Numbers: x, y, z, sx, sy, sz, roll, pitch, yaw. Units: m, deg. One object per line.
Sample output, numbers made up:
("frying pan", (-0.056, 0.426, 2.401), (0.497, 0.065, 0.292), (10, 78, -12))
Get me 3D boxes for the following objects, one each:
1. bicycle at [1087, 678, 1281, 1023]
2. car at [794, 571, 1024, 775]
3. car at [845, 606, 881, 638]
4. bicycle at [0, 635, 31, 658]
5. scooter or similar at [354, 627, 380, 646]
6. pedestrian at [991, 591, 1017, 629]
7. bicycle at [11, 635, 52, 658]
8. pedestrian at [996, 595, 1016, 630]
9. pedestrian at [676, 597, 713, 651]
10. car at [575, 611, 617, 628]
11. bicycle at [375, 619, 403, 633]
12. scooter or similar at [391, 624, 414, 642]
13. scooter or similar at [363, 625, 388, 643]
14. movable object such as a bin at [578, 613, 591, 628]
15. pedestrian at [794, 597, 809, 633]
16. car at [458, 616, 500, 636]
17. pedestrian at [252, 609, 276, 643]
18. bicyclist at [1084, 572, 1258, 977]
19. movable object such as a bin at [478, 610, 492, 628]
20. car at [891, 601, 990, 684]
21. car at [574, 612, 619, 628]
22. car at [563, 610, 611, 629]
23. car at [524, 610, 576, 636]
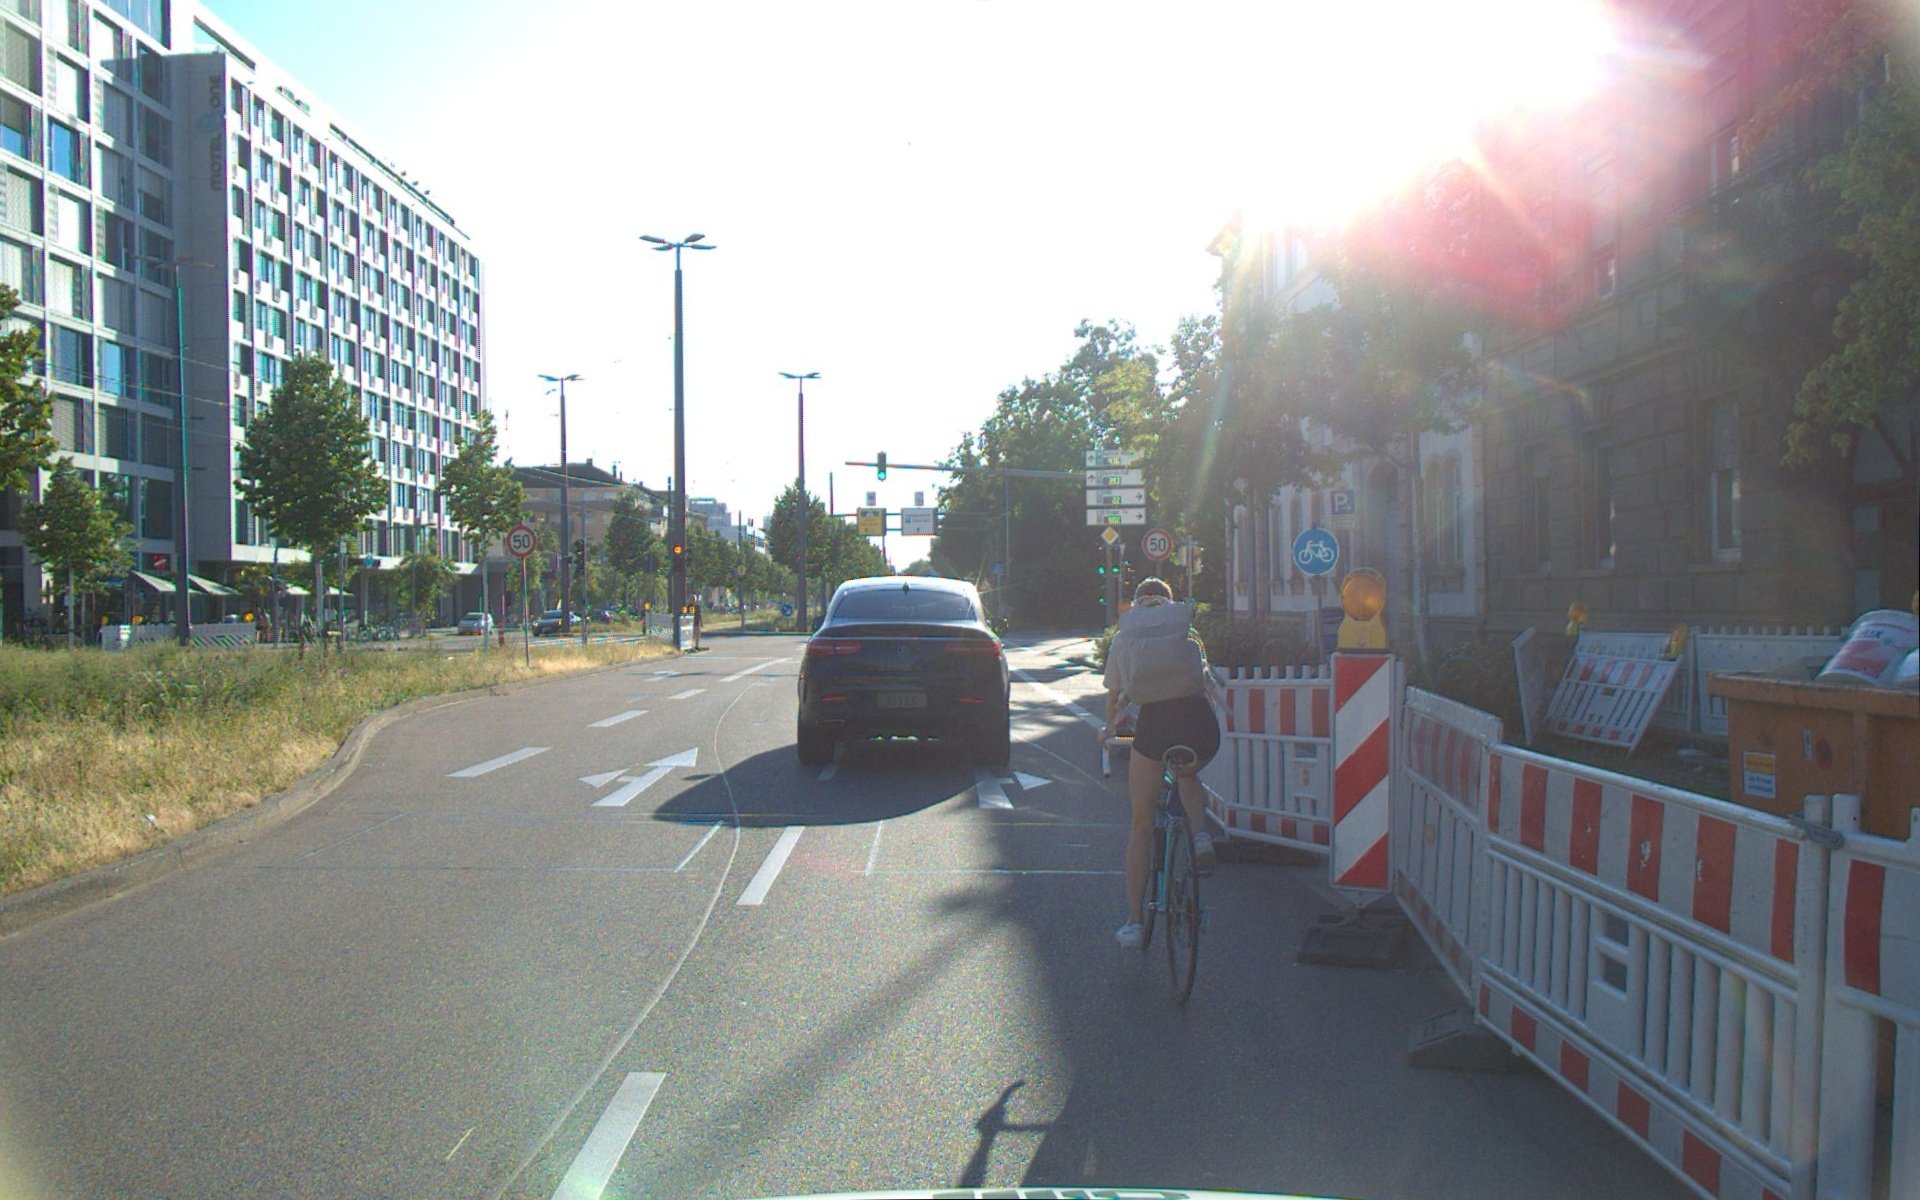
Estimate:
("bicycle", (0.866, 0.933, 6.797), (0.510, 1.116, 1.842), (-1, 0, -1))
("car", (-0.632, 0.614, 16.405), (1.955, 1.765, 3.994), (0, 0, -7))
("car", (-5.160, 1.177, 88.350), (1.848, 1.608, 3.999), (0, 0, -2))
("bicycle", (-41.504, 2.042, 72.478), (0.524, 0.952, 1.900), (-1, 0, -2))
("scooter or similar", (-33.085, 2.022, 92.262), (1.218, 1.037, 0.511), (-1, 0, 0))
("pedestrian", (2.203, 0.502, 82.231), (0.850, 1.833, 0.896), (-3, 0, -36))
("bicycle", (-40.710, 2.030, 72.546), (0.606, 0.952, 2.216), (-1, 0, -2))
("pedestrian", (2.245, 0.597, 81.258), (0.752, 1.665, 0.768), (-3, 0, -11))
("pedestrian", (-8.329, 0.756, 51.912), (0.904, 1.678, 0.766), (-1, -1, 11))
("car", (-34.467, 1.827, 156.771), (3.595, 1.550, 1.596), (2, -1, -42))
("bicycle", (-40.721, 1.850, 117.952), (1.770, 0.921, 0.511), (-1, 0, -8))
("scooter or similar", (-33.137, 1.941, 98.333), (1.218, 1.037, 0.435), (-1, 0, 0))
("scooter or similar", (-33.137, 1.928, 93.789), (1.218, 1.037, 0.435), (-1, 0, 0))
("movable object such as a bin", (-33.567, 1.866, 147.839), (0.839, 1.303, 0.940), (-1, 0, 13))
("pedestrian", (-7.906, 0.744, 82.404), (0.586, 1.729, 0.714), (-1, 0, 4))
("car", (-33.036, 1.770, 113.674), (1.721, 1.351, 3.999), (0, 0, -1))
("pedestrian", (-36.108, 1.347, 85.811), (0.851, 1.751, 0.804), (-1, 0, 8))
("bicyclist", (0.838, 0.654, 6.777), (0.541, 1.517, 1.081), (-1, 0, -1))
("movable object such as a bin", (-41.006, 1.638, 142.805), (0.784, 1.465, 1.402), (-1, 0, -1))
("car", (-0.428, 0.809, 33.197), (1.859, 1.554, 4.057), (0, 0, -2))
("car", (-34.956, 1.900, 159.244), (1.754, 1.478, 3.978), (0, 0, 40))
("car", (-34.527, 1.792, 153.123), (4.061, 1.629, 1.723), (2, 0, -42))
("car", (-23.004, 1.291, 92.946), (1.853, 1.367, 4.849), (-1, 0, -2))
